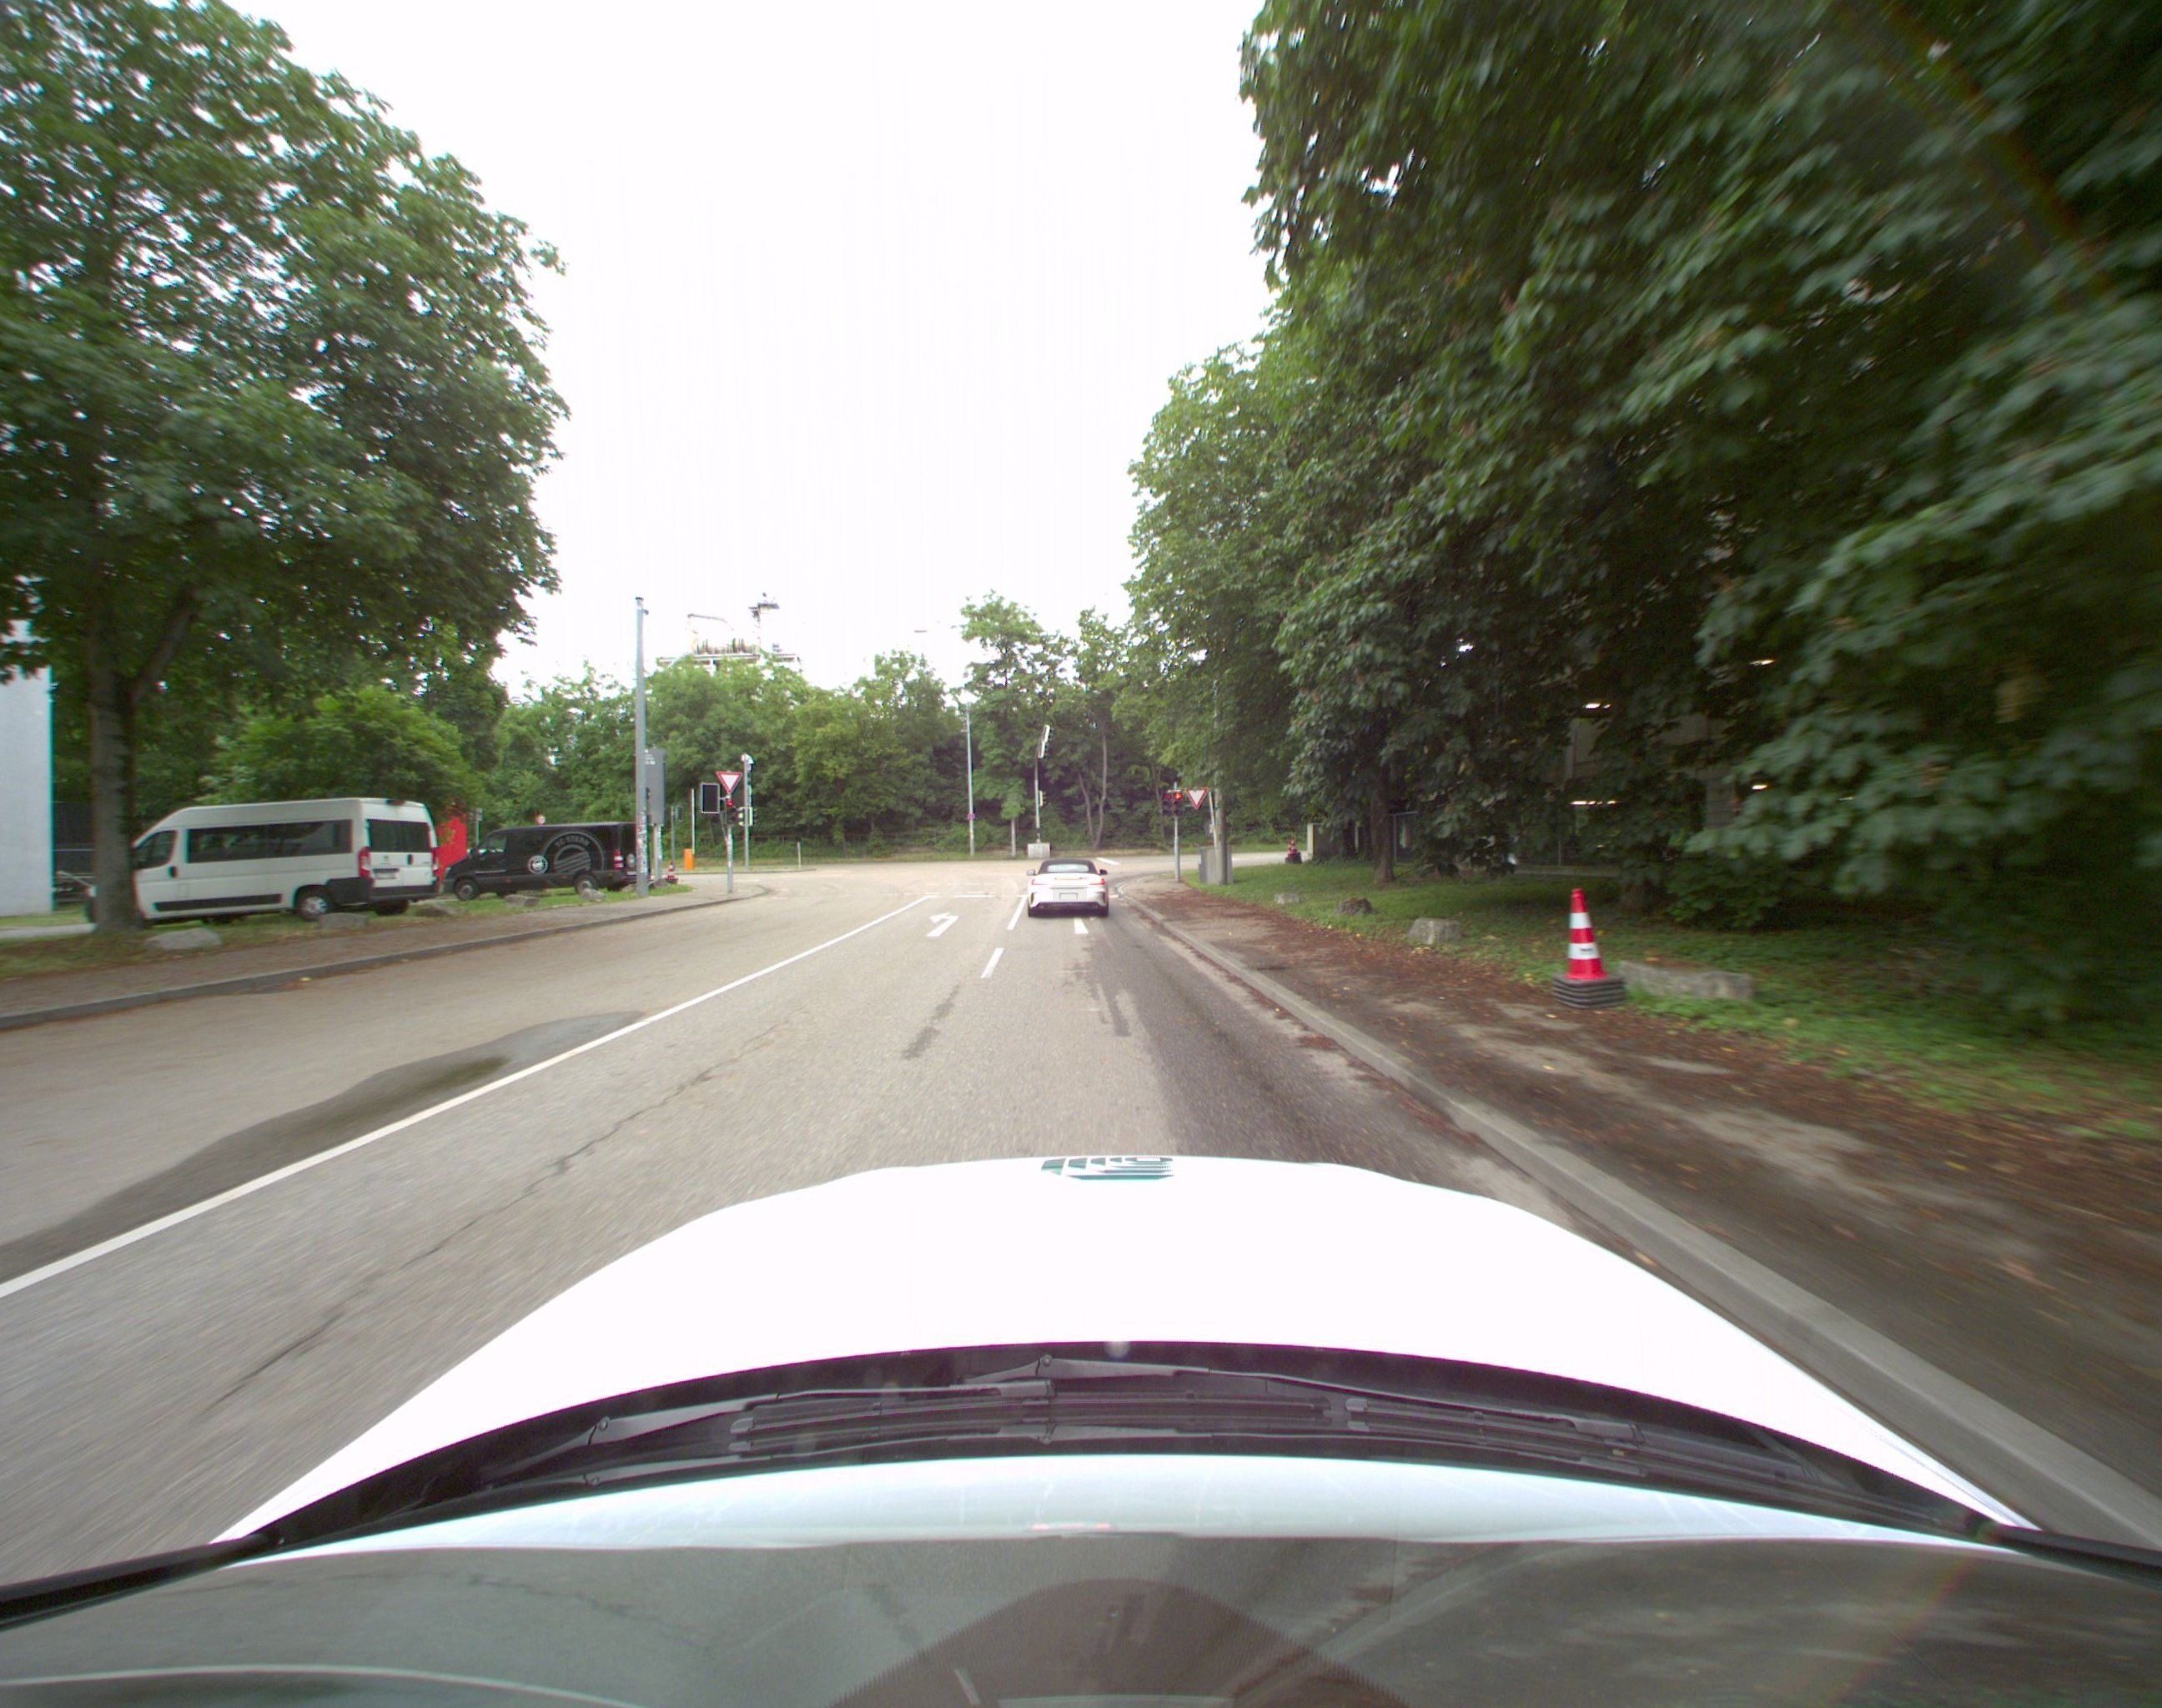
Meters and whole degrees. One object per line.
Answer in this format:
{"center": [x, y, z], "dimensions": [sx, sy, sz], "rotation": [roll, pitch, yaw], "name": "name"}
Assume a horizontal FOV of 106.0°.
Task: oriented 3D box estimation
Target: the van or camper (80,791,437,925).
{"center": [-16.708, 0.084, 16.812], "dimensions": [4.962, 2.570, 2.058], "rotation": [0, -2, -5], "name": "van or camper"}

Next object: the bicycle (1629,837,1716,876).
{"center": [11.588, 0.063, 16.014], "dimensions": [0.446, 0.736, 1.491], "rotation": [0, -1, -10], "name": "bicycle"}

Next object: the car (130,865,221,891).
{"center": [-51.408, 1.377, 46.266], "dimensions": [3.294, 1.421, 1.498], "rotation": [0, -2, -3], "name": "car"}

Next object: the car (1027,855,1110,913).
{"center": [-0.403, 0.703, 19.901], "dimensions": [1.824, 1.257, 3.994], "rotation": [0, -1, -4], "name": "car"}

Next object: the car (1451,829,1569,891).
{"center": [12.719, 0.196, 24.411], "dimensions": [1.477, 1.708, 3.716], "rotation": [0, -1, -2], "name": "car"}

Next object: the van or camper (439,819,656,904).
{"center": [-17.061, 0.253, 26.267], "dimensions": [5.519, 2.313, 2.061], "rotation": [-3, -1, -1], "name": "van or camper"}

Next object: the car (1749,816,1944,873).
{"center": [22.657, -0.223, 24.352], "dimensions": [1.988, 1.552, 3.996], "rotation": [0, -1, -2], "name": "car"}

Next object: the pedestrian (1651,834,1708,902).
{"center": [11.905, 0.278, 16.204], "dimensions": [0.639, 1.317, 0.636], "rotation": [0, -2, -3], "name": "pedestrian"}

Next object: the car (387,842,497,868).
{"center": [-37.181, 0.093, 47.502], "dimensions": [4.669, 1.456, 1.895], "rotation": [0, -1, -7], "name": "car"}

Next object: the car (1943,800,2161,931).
{"center": [17.550, 0.186, 13.250], "dimensions": [1.988, 2.014, 4.670], "rotation": [0, -1, -2], "name": "car"}

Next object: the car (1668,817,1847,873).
{"center": [20.195, -0.203, 24.559], "dimensions": [1.988, 1.552, 3.996], "rotation": [0, -1, -2], "name": "car"}

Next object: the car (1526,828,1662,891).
{"center": [15.130, 0.196, 24.259], "dimensions": [1.576, 1.708, 3.766], "rotation": [0, -1, -2], "name": "car"}
